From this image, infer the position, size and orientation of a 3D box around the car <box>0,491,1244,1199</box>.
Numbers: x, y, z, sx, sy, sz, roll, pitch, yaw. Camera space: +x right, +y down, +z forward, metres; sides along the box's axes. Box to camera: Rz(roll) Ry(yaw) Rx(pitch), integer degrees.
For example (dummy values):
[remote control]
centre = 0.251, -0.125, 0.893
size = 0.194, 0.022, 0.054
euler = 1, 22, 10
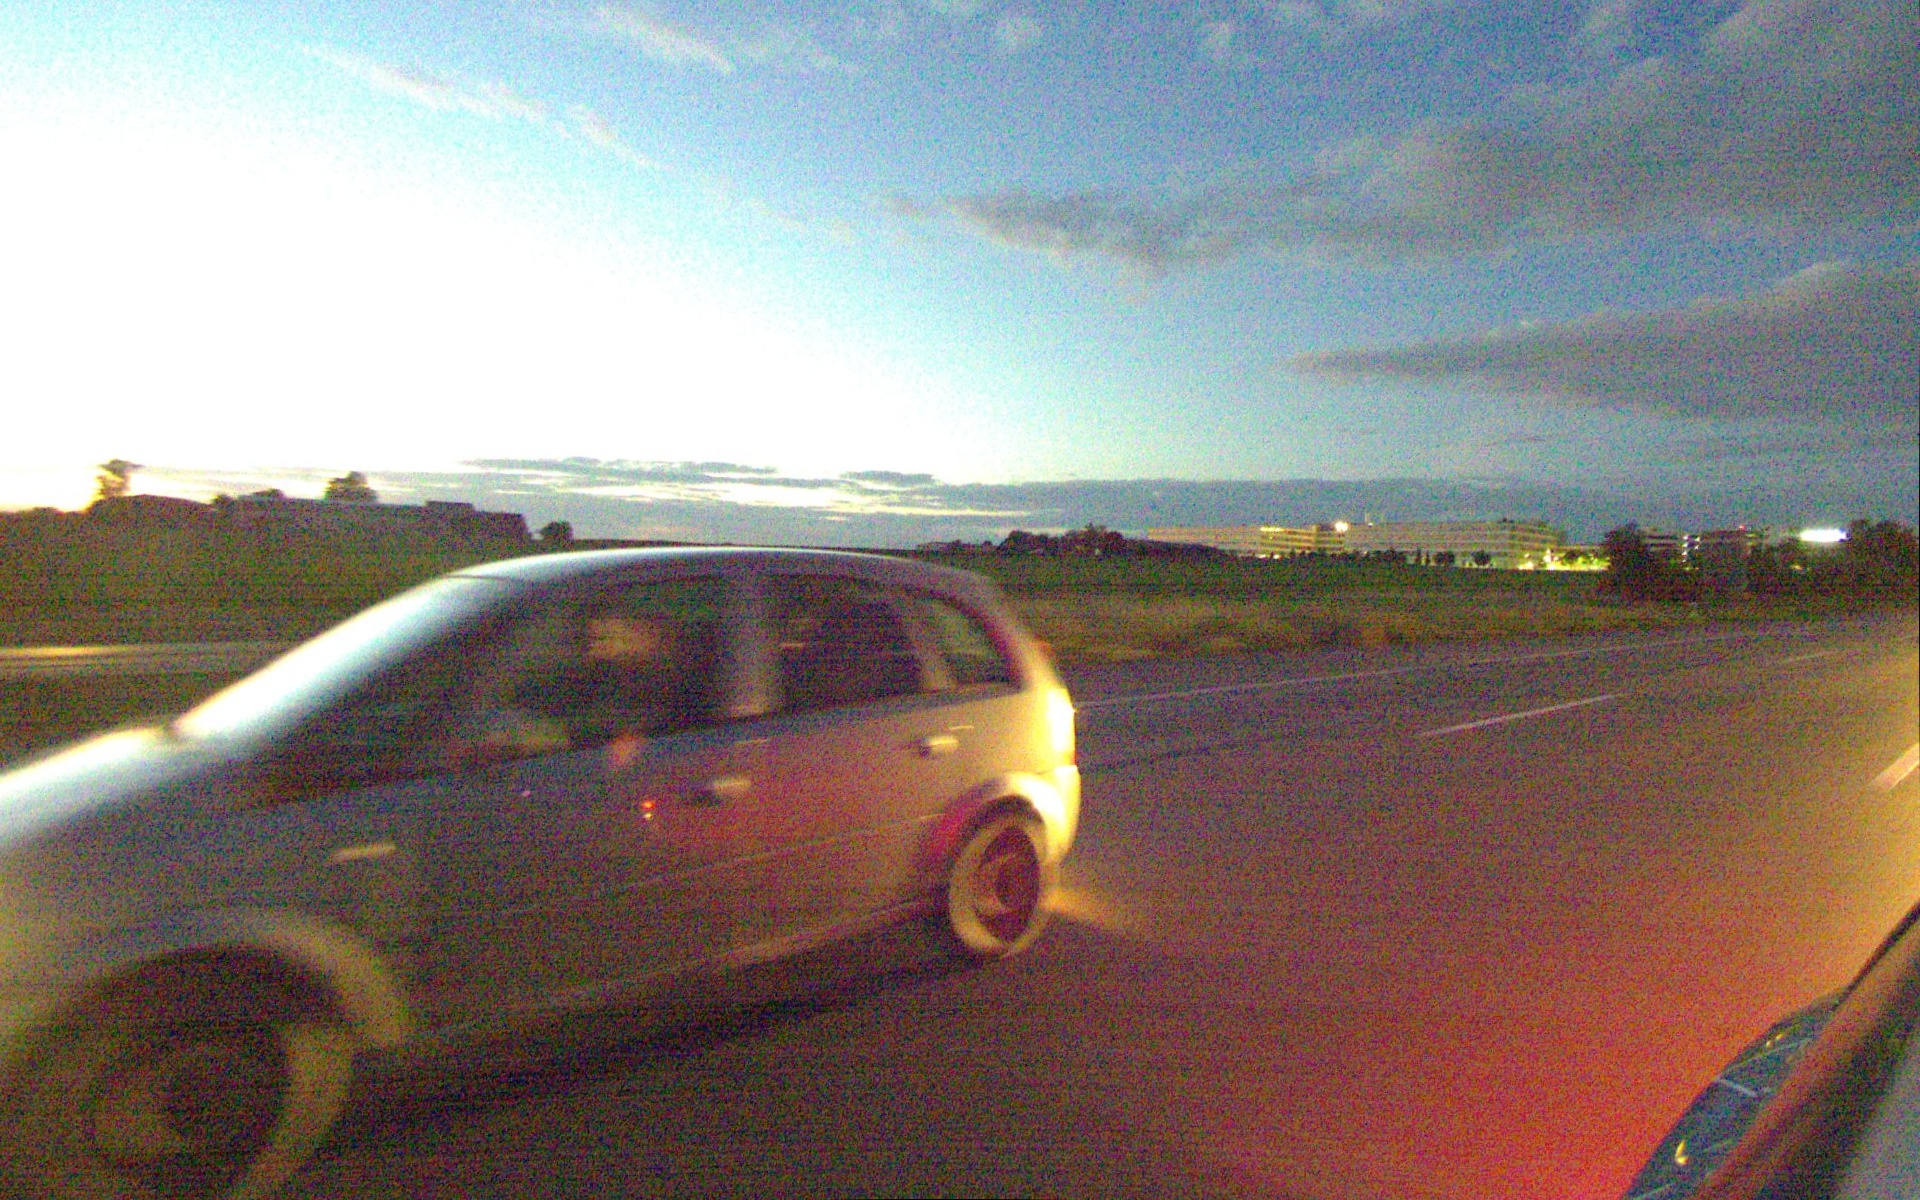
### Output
[car]
centre = -0.831, 0.552, 4.155
size = 4.430, 1.616, 1.649
euler = 0, 2, -41
